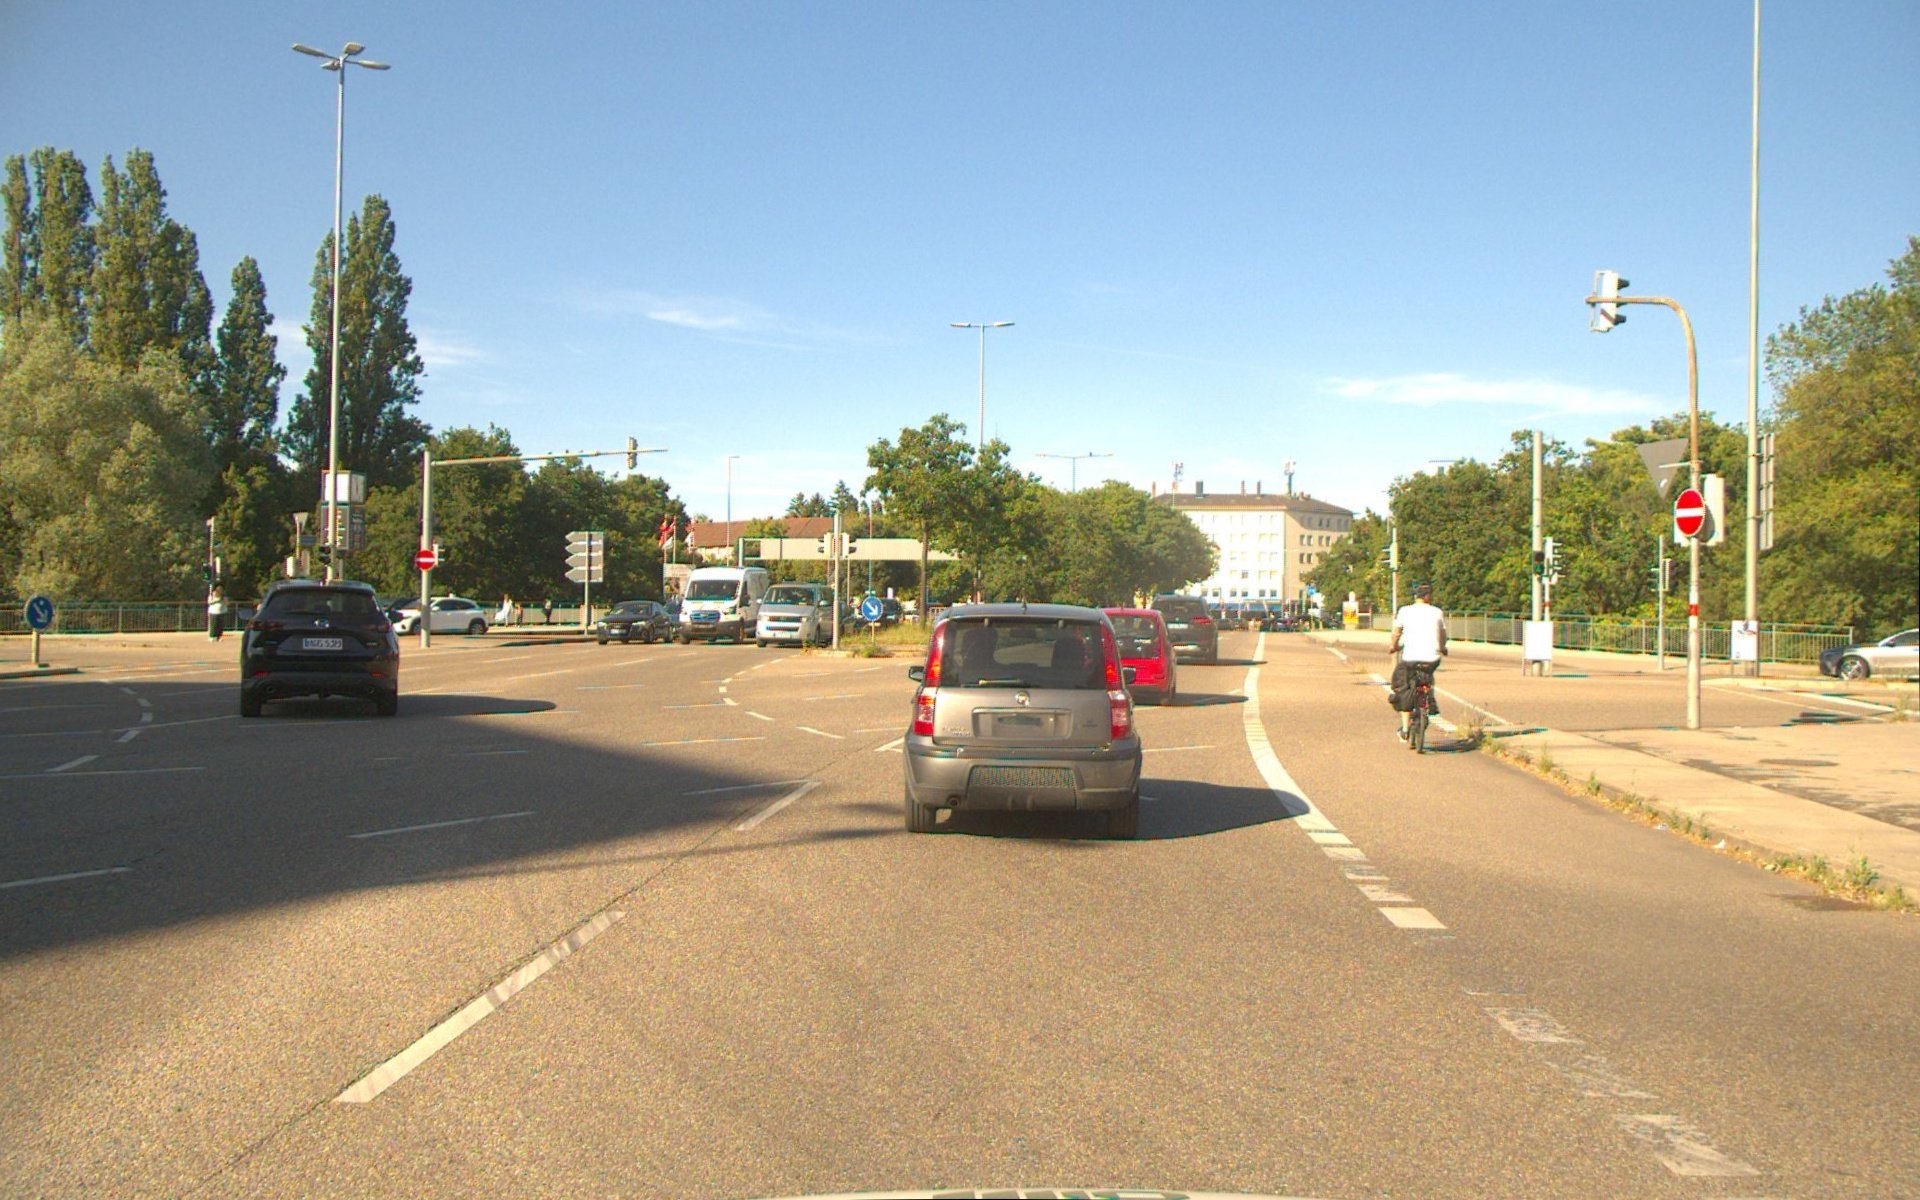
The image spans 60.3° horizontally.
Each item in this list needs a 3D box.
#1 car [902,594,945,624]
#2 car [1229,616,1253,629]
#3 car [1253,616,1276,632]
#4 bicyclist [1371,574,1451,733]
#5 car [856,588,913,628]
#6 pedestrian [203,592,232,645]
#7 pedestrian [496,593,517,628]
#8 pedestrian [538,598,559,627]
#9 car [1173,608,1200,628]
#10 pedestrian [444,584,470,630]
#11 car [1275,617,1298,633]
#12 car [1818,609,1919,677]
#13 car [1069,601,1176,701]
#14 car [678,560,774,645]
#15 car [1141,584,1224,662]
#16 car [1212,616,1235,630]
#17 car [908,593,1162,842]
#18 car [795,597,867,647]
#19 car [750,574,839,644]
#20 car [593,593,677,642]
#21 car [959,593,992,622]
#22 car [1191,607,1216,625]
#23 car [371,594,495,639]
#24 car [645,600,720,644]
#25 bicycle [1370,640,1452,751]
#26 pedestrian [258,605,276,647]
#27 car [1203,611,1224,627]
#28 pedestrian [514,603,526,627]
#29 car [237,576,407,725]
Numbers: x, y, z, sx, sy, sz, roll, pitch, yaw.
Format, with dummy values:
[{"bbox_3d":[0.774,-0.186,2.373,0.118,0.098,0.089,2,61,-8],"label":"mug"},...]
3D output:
[{"bbox_3d":[-1.995,0.505,92.455,1.896,1.651,4.508,1,0,5],"label":"car"},{"bbox_3d":[34.747,2.814,204.304,1.907,1.555,4.093,1,0,26],"label":"car"},{"bbox_3d":[35.344,2.805,191.886,1.828,1.710,3.906,1,-3,24],"label":"car"},{"bbox_3d":[5.001,0.581,18.389,0.708,1.688,1.114,2,-1,10],"label":"bicyclist"},{"bbox_3d":[-3.261,0.336,72.203,1.896,1.651,4.508,1,0,5],"label":"car"},{"bbox_3d":[-22.153,0.559,49.326,0.702,1.574,0.721,1,-1,-32],"label":"pedestrian"},{"bbox_3d":[-22.257,0.530,81.108,0.705,1.670,0.673,2,-2,9],"label":"pedestrian"},{"bbox_3d":[-22.026,0.664,88.533,0.657,1.529,0.779,1,-3,23],"label":"pedestrian"},{"bbox_3d":[18.320,1.416,133.793,1.904,1.555,4.101,1,0,11],"label":"car"},{"bbox_3d":[-23.054,0.332,75.882,0.789,2.032,0.788,2,-2,9],"label":"pedestrian"},{"bbox_3d":[39.431,2.993,199.649,1.828,1.710,3.906,1,-2,23],"label":"car"},{"bbox_3d":[23.254,1.033,40.014,4.164,1.579,1.852,1,0,39],"label":"car"},{"bbox_3d":[2.634,0.777,26.779,1.583,1.488,3.753,1,0,6],"label":"car"},{"bbox_3d":[-7.638,0.101,54.629,1.896,2.621,6.091,1,0,4],"label":"car"},{"bbox_3d":[5.884,0.613,43.296,1.904,1.872,4.156,2,-1,10],"label":"car"},{"bbox_3d":[31.073,2.696,194.898,1.905,1.555,4.097,1,0,20],"label":"car"},{"bbox_3d":[0.537,0.742,12.314,1.584,1.542,3.820,1,0,2],"label":"car"},{"bbox_3d":[-4.493,0.748,58.221,1.896,1.651,4.508,1,0,4],"label":"car"},{"bbox_3d":[-5.079,0.274,51.397,1.896,2.043,4.934,1,0,4],"label":"car"},{"bbox_3d":[-10.742,0.568,54.913,1.896,1.534,4.001,-1,0,1],"label":"car"},{"bbox_3d":[1.137,0.576,119.532,1.951,2.049,4.337,0,-1,6],"label":"car"},{"bbox_3d":[21.756,1.464,147.520,1.904,1.555,4.101,1,0,12],"label":"car"},{"bbox_3d":[-19.764,0.621,62.182,1.747,1.562,4.317,2,0,32],"label":"car"},{"bbox_3d":[-10.294,0.799,61.587,1.773,1.569,4.618,-1,0,3],"label":"car"},{"bbox_3d":[4.988,1.029,18.385,0.676,1.121,1.827,2,0,10],"label":"bicycle"},{"bbox_3d":[-26.041,0.971,62.132,0.551,1.575,0.570,0,-2,-32],"label":"pedestrian"},{"bbox_3d":[26.131,1.955,170.345,1.904,1.555,4.100,1,0,12],"label":"car"},{"bbox_3d":[-21.524,0.746,80.910,0.414,1.156,0.398,2,-2,9],"label":"pedestrian"},{"bbox_3d":[-8.237,0.606,21.536,1.846,1.739,4.172,1,0,-20],"label":"car"}]
